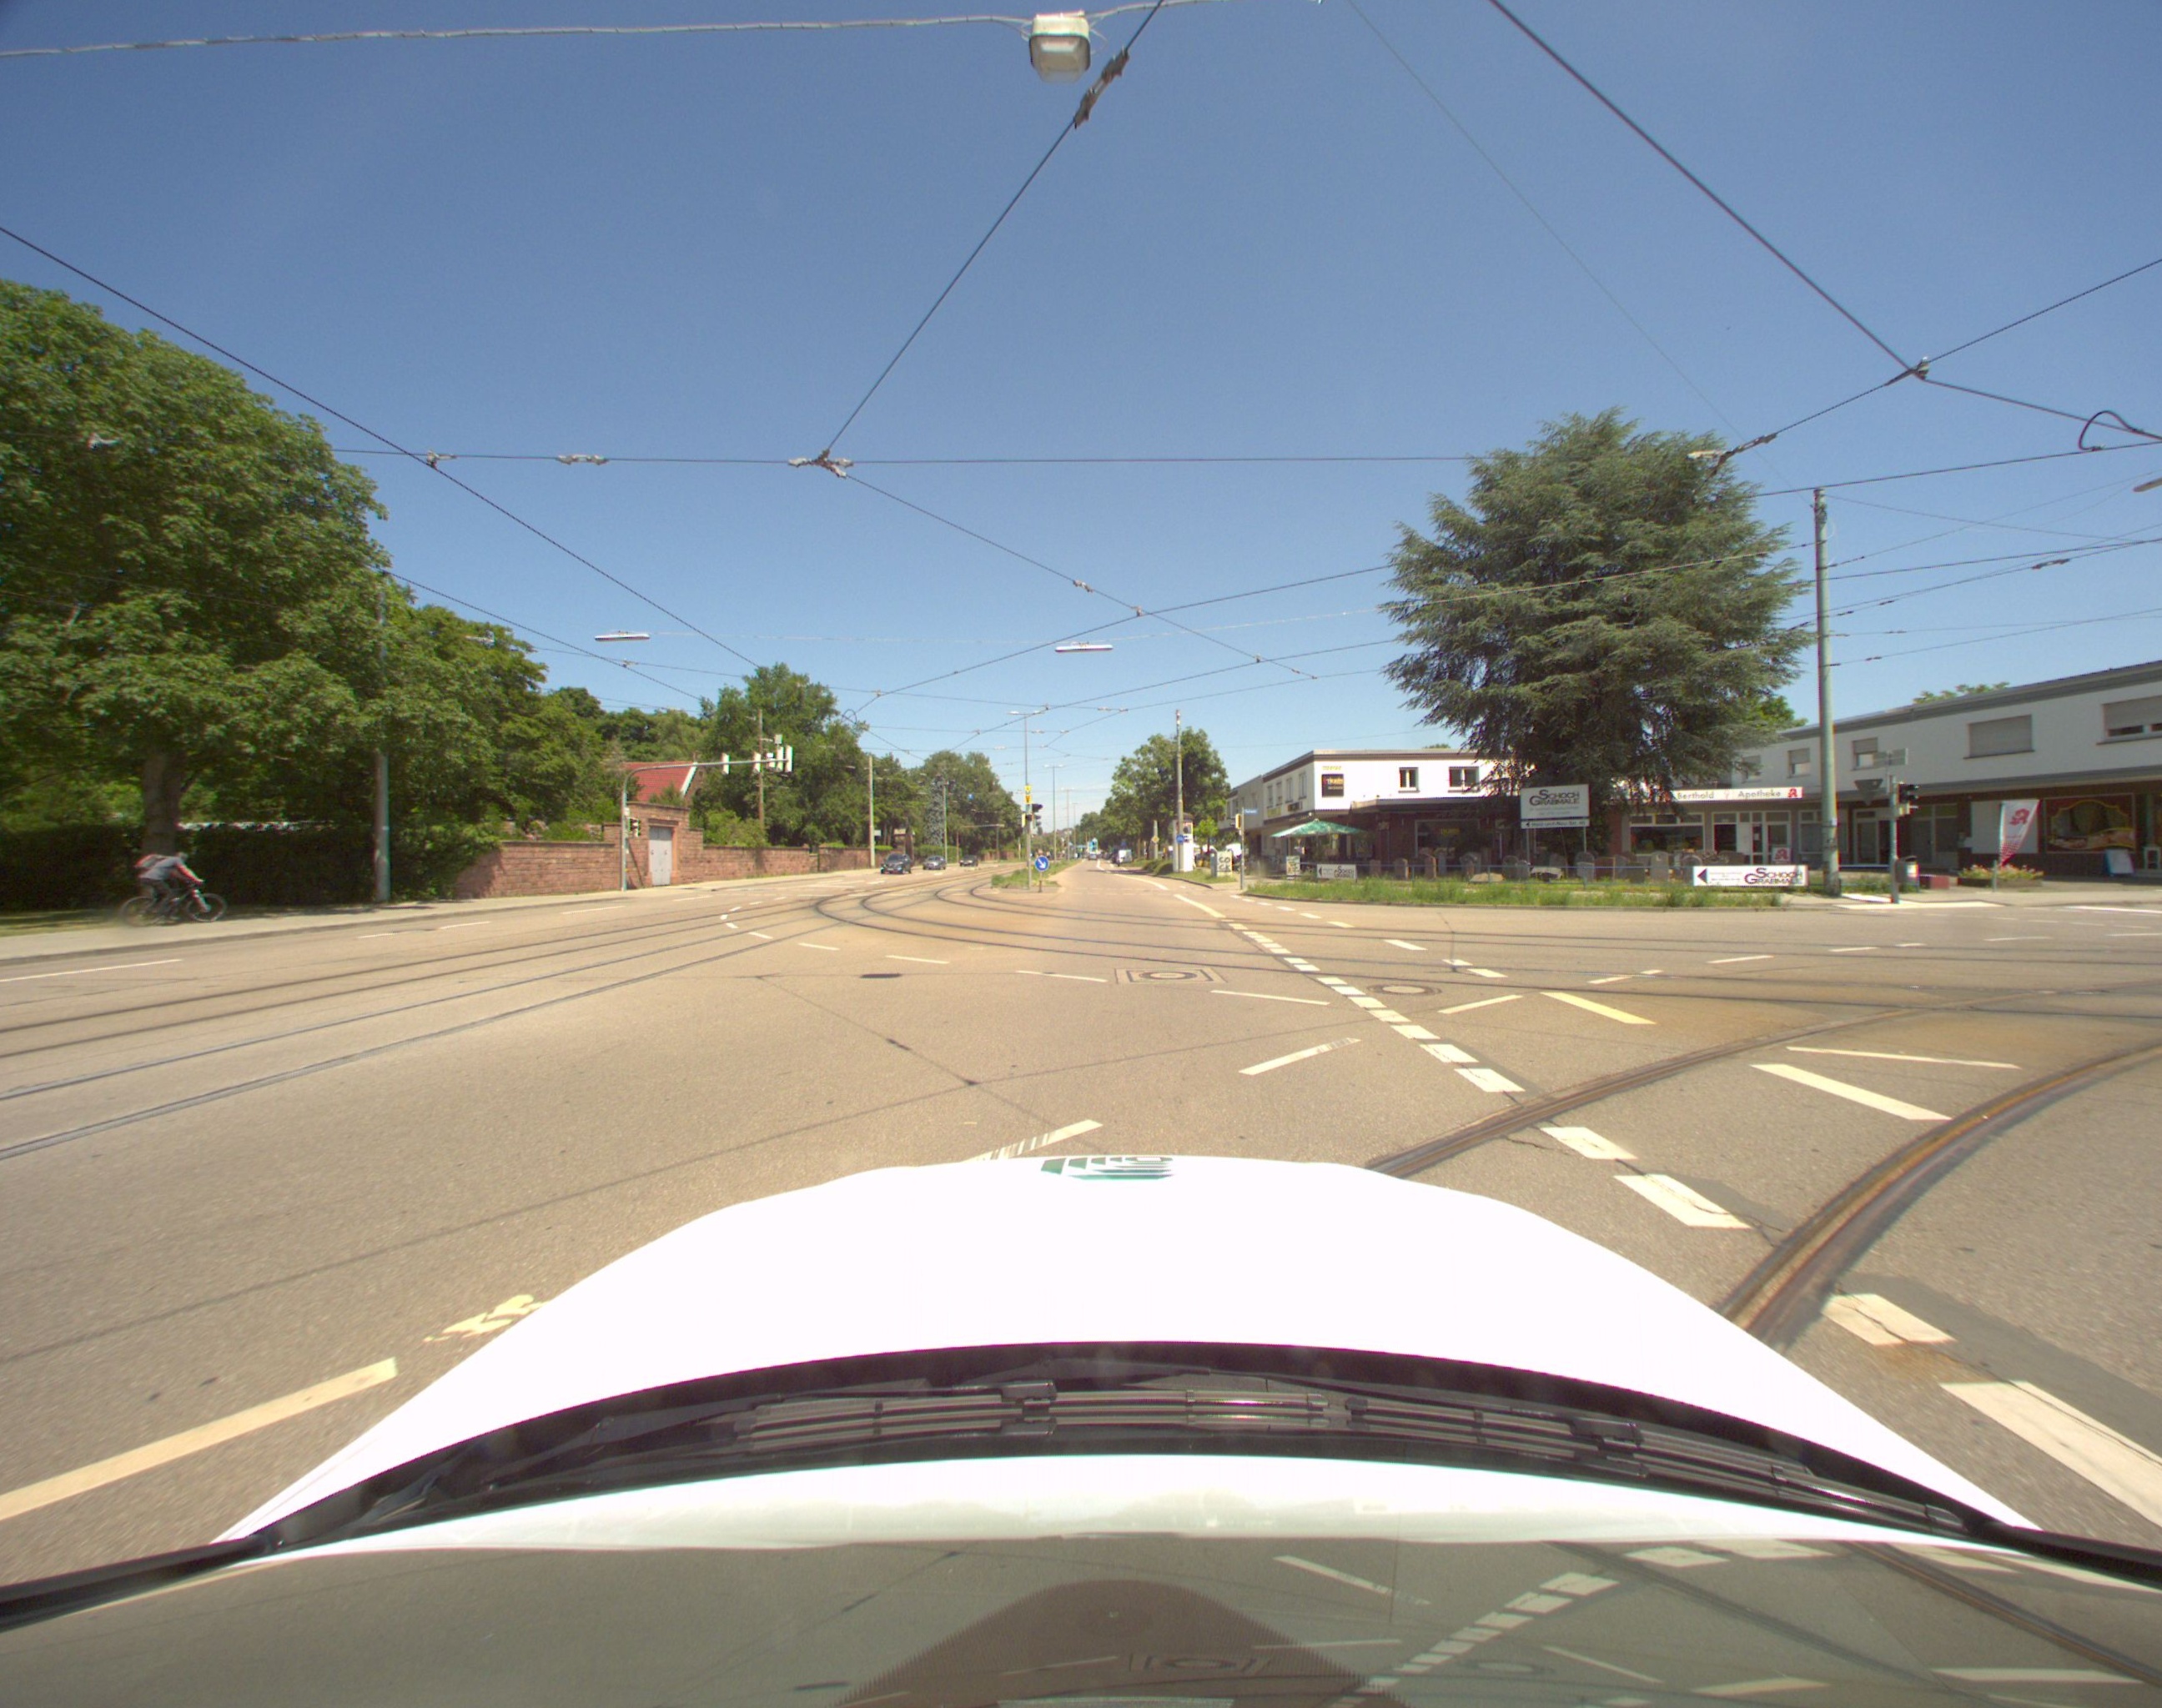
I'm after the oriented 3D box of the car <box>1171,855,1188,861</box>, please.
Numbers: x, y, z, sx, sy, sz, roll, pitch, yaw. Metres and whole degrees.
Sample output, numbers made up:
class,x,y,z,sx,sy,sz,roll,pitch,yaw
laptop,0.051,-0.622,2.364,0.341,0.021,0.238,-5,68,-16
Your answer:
class,x,y,z,sx,sy,sz,roll,pitch,yaw
car,16.091,0.618,133.068,2.578,0.962,1.149,0,-1,2

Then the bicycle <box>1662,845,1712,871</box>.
class,x,y,z,sx,sy,sz,roll,pitch,yaw
bicycle,29.018,0.208,39.024,1.858,1.192,0.600,1,-2,12

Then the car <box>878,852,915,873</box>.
class,x,y,z,sx,sy,sz,roll,pitch,yaw
car,-15.049,0.661,66.744,1.813,1.603,4.523,0,1,2

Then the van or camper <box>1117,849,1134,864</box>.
class,x,y,z,sx,sy,sz,roll,pitch,yaw
van or camper,5.383,0.323,99.147,1.915,1.772,4.002,0,0,2

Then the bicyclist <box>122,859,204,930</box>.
class,x,y,z,sx,sy,sz,roll,pitch,yaw
bicyclist,-20.299,0.882,18.023,0.847,1.531,0.845,0,-1,1

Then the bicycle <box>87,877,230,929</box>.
class,x,y,z,sx,sy,sz,roll,pitch,yaw
bicycle,-20.295,1.051,17.998,0.712,1.041,2.104,0,-1,1

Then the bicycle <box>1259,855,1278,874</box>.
class,x,y,z,sx,sy,sz,roll,pitch,yaw
bicycle,12.236,0.684,53.319,0.983,1.164,2.643,-1,0,8

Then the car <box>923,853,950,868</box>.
class,x,y,z,sx,sy,sz,roll,pitch,yaw
car,-14.578,0.620,82.317,1.634,1.421,4.172,-1,0,4

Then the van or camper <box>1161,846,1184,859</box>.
class,x,y,z,sx,sy,sz,roll,pitch,yaw
van or camper,15.331,-0.189,136.356,3.547,2.145,1.602,0,-1,-1

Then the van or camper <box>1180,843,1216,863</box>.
class,x,y,z,sx,sy,sz,roll,pitch,yaw
van or camper,16.077,-0.163,112.128,4.742,2.671,2.135,0,0,-1

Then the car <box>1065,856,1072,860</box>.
class,x,y,z,sx,sy,sz,roll,pitch,yaw
car,-3.252,0.991,212.052,1.487,1.046,3.580,0,0,1

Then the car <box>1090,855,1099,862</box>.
class,x,y,z,sx,sy,sz,roll,pitch,yaw
car,2.537,0.783,156.928,1.632,1.351,3.840,0,0,-1

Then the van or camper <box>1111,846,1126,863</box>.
class,x,y,z,sx,sy,sz,roll,pitch,yaw
van or camper,5.548,0.069,121.336,1.988,2.464,3.998,0,0,-1

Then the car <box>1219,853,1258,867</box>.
class,x,y,z,sx,sy,sz,roll,pitch,yaw
car,16.053,0.578,83.162,3.601,1.351,1.488,0,0,-6

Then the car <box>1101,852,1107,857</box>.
class,x,y,z,sx,sy,sz,roll,pitch,yaw
car,6.730,0.115,234.229,1.519,1.296,3.490,0,0,-1

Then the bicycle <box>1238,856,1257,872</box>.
class,x,y,z,sx,sy,sz,roll,pitch,yaw
bicycle,10.977,0.668,53.772,1.028,1.015,2.643,-1,0,8

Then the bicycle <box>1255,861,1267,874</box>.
class,x,y,z,sx,sy,sz,roll,pitch,yaw
bicycle,14.842,1.121,67.148,0.505,1.065,1.862,1,-1,-2

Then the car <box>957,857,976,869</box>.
class,x,y,z,sx,sy,sz,roll,pitch,yaw
car,-14.407,1.126,102.614,1.636,1.399,4.116,1,0,0
